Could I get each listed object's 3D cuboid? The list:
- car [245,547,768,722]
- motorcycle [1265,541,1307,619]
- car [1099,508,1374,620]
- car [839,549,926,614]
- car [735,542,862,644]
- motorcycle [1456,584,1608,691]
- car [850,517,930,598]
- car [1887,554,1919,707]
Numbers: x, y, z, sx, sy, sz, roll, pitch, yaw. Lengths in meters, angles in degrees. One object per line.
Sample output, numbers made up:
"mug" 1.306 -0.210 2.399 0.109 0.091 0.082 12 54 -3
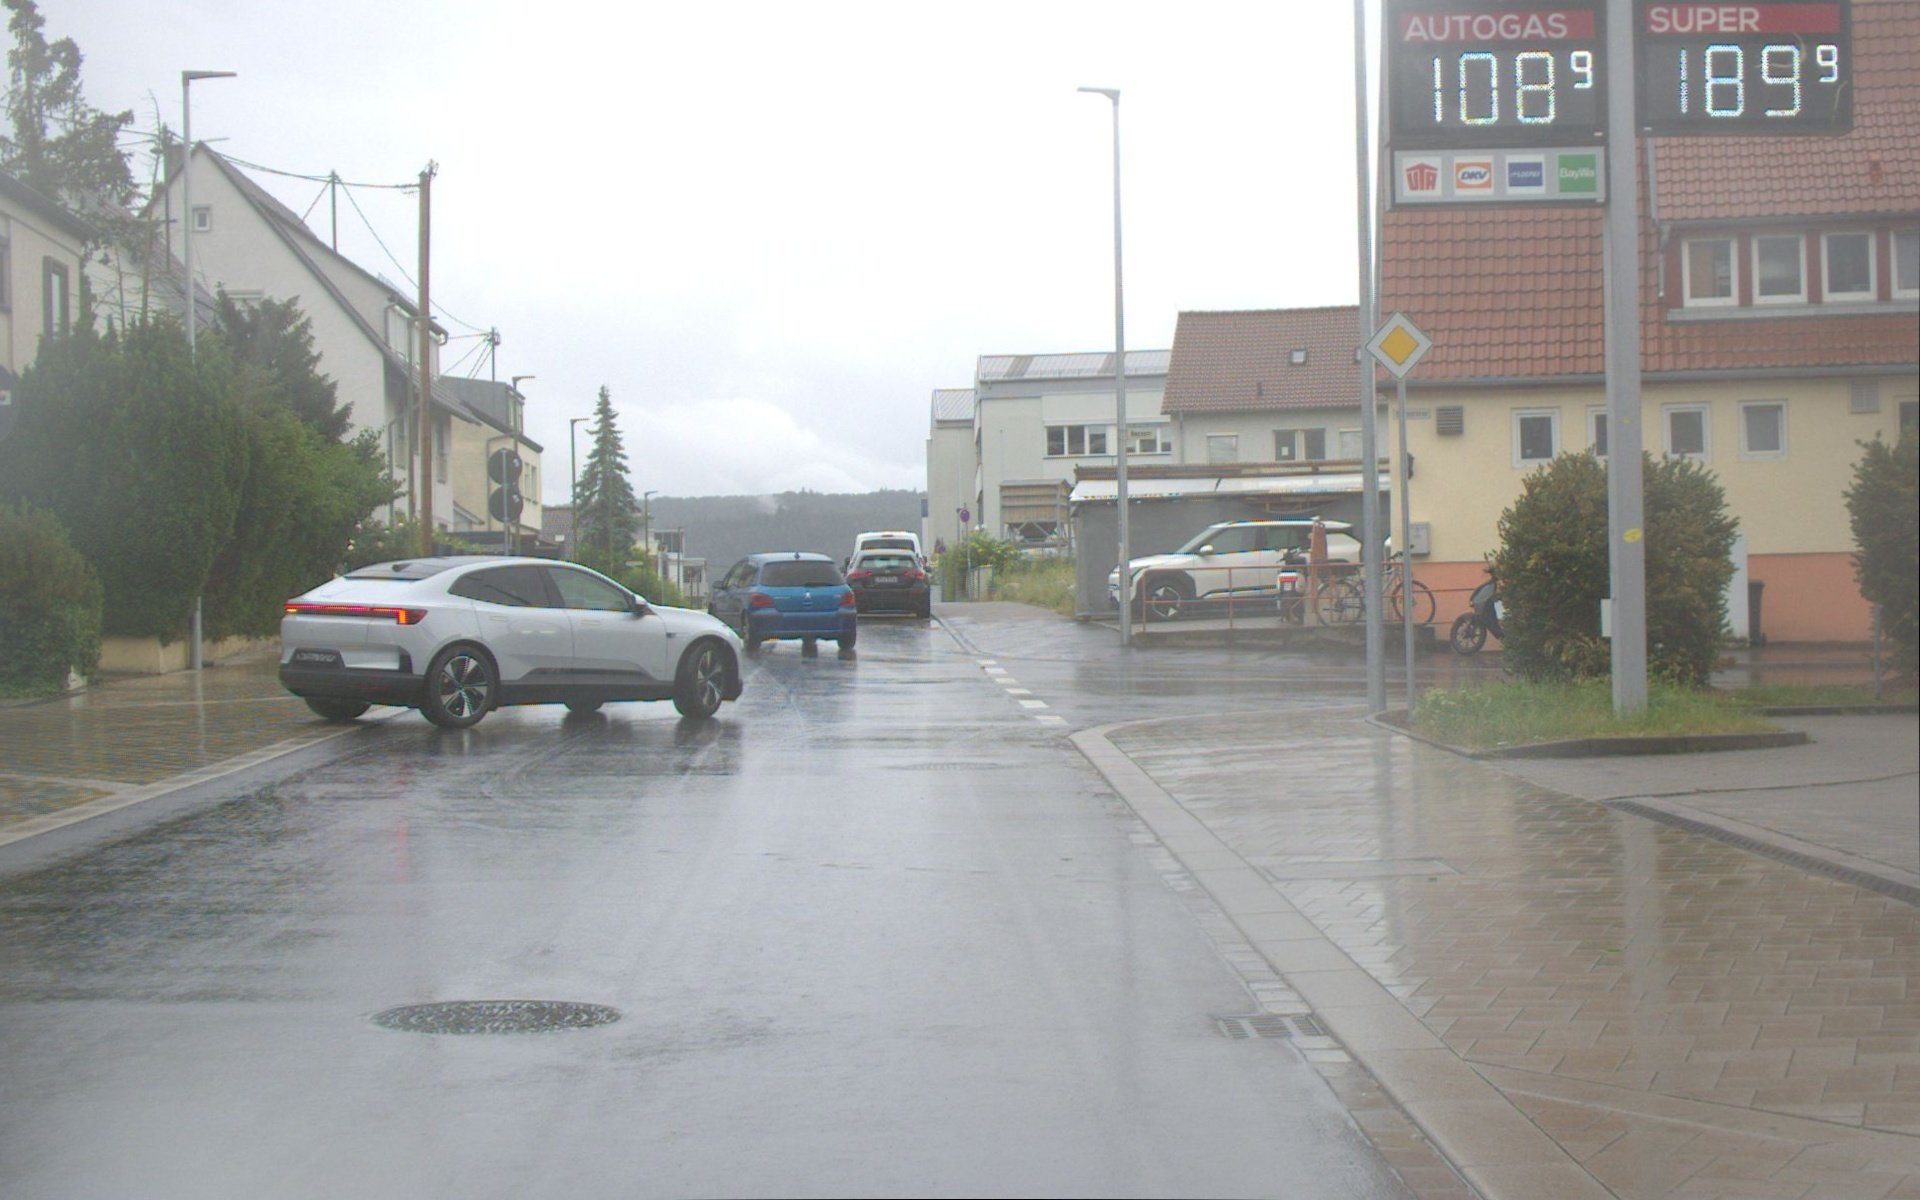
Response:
"car" -4.196 0.276 32.406 1.998 1.497 4.658 0 1 43
"motorcycle" 4.770 -0.299 50.410 0.487 1.092 2.000 0 2 2
"car" 4.515 -0.582 56.503 4.216 1.604 1.861 -3 0 -3
"car" -1.658 -0.399 72.436 1.768 1.331 4.321 0 1 -2
"car" -2.536 -0.127 54.374 1.928 1.534 4.321 0 1 -2
"motorcycle" 7.858 0.519 47.215 2.034 1.451 0.489 0 0 11
"car" -1.644 -0.975 79.248 1.768 1.819 4.575 0 1 -2
"car" 9.528 0.268 28.728 1.688 1.335 4.341 -1 1 -11
